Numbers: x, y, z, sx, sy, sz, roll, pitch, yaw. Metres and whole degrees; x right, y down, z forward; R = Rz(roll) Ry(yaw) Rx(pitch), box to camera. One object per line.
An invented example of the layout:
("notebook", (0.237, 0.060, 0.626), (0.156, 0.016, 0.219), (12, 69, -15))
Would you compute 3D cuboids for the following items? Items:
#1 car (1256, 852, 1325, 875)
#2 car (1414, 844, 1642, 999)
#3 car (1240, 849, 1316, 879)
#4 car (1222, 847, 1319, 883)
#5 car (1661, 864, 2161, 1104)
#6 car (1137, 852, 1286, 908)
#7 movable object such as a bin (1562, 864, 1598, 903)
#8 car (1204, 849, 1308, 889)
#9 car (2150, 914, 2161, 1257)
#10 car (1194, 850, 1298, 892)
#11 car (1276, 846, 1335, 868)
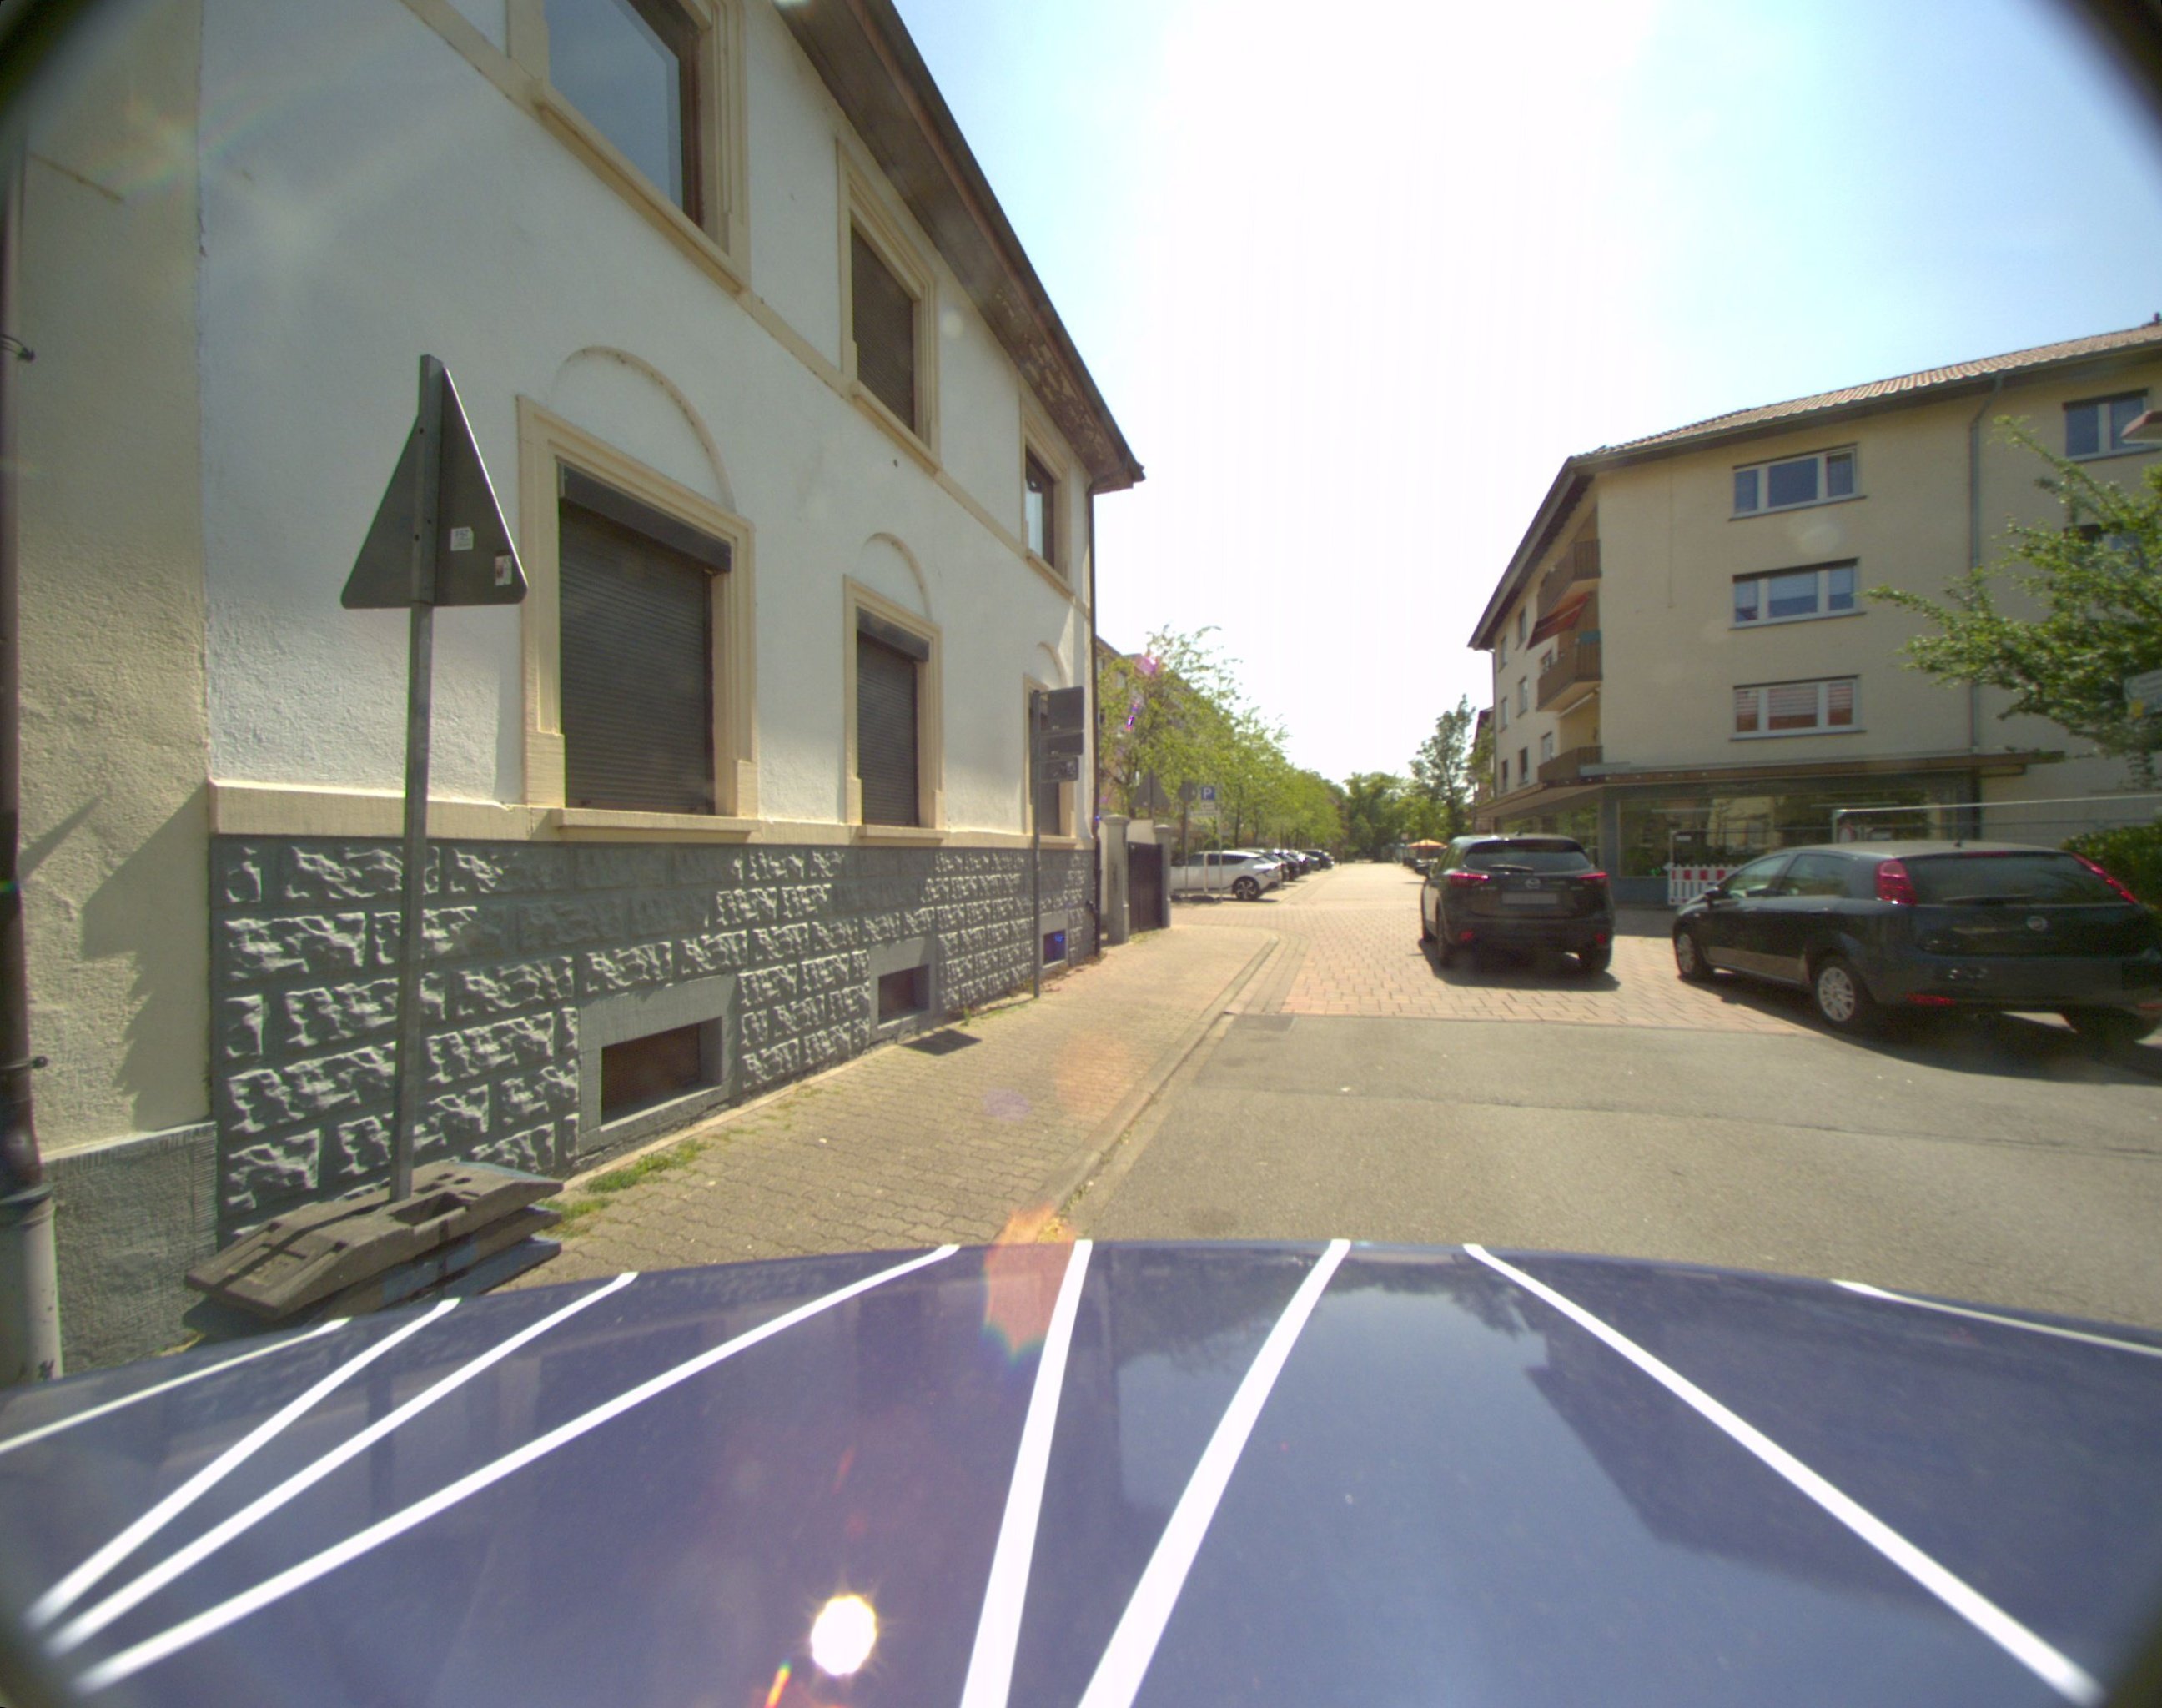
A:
("car", (14.768, 0.645, 53.839), (4.383, 1.455, 1.891), (1, 0, 2))
("car", (5.780, 0.738, 10.402), (1.883, 1.658, 4.159), (0, 0, 19))
("car", (11.264, 0.546, 43.449), (4.030, 1.603, 1.683), (2, 1, 20))
("car", (9.723, 0.521, 38.949), (4.511, 1.579, 1.853), (3, 1, 24))
("car", (7.026, 0.848, 6.764), (1.704, 1.488, 3.862), (0, 0, 17))
("car", (4.207, 0.774, 24.478), (4.444, 1.567, 1.792), (2, 0, 21))
("movable object such as a bin", (13.936, 0.829, 21.225), (0.656, 1.064, 0.664), (-1, 0, 14))
("car", (7.860, 0.643, 34.061), (4.283, 1.671, 2.003), (1, 0, 19))
("car", (5.161, 1.064, 1.380), (1.817, 1.595, 4.031), (0, 0, 21))
("car", (6.831, 0.678, 31.476), (3.947, 1.525, 1.827), (2, 1, 20))
("car", (17.555, 0.240, 59.316), (4.247, 1.608, 1.759), (2, 0, 20))
